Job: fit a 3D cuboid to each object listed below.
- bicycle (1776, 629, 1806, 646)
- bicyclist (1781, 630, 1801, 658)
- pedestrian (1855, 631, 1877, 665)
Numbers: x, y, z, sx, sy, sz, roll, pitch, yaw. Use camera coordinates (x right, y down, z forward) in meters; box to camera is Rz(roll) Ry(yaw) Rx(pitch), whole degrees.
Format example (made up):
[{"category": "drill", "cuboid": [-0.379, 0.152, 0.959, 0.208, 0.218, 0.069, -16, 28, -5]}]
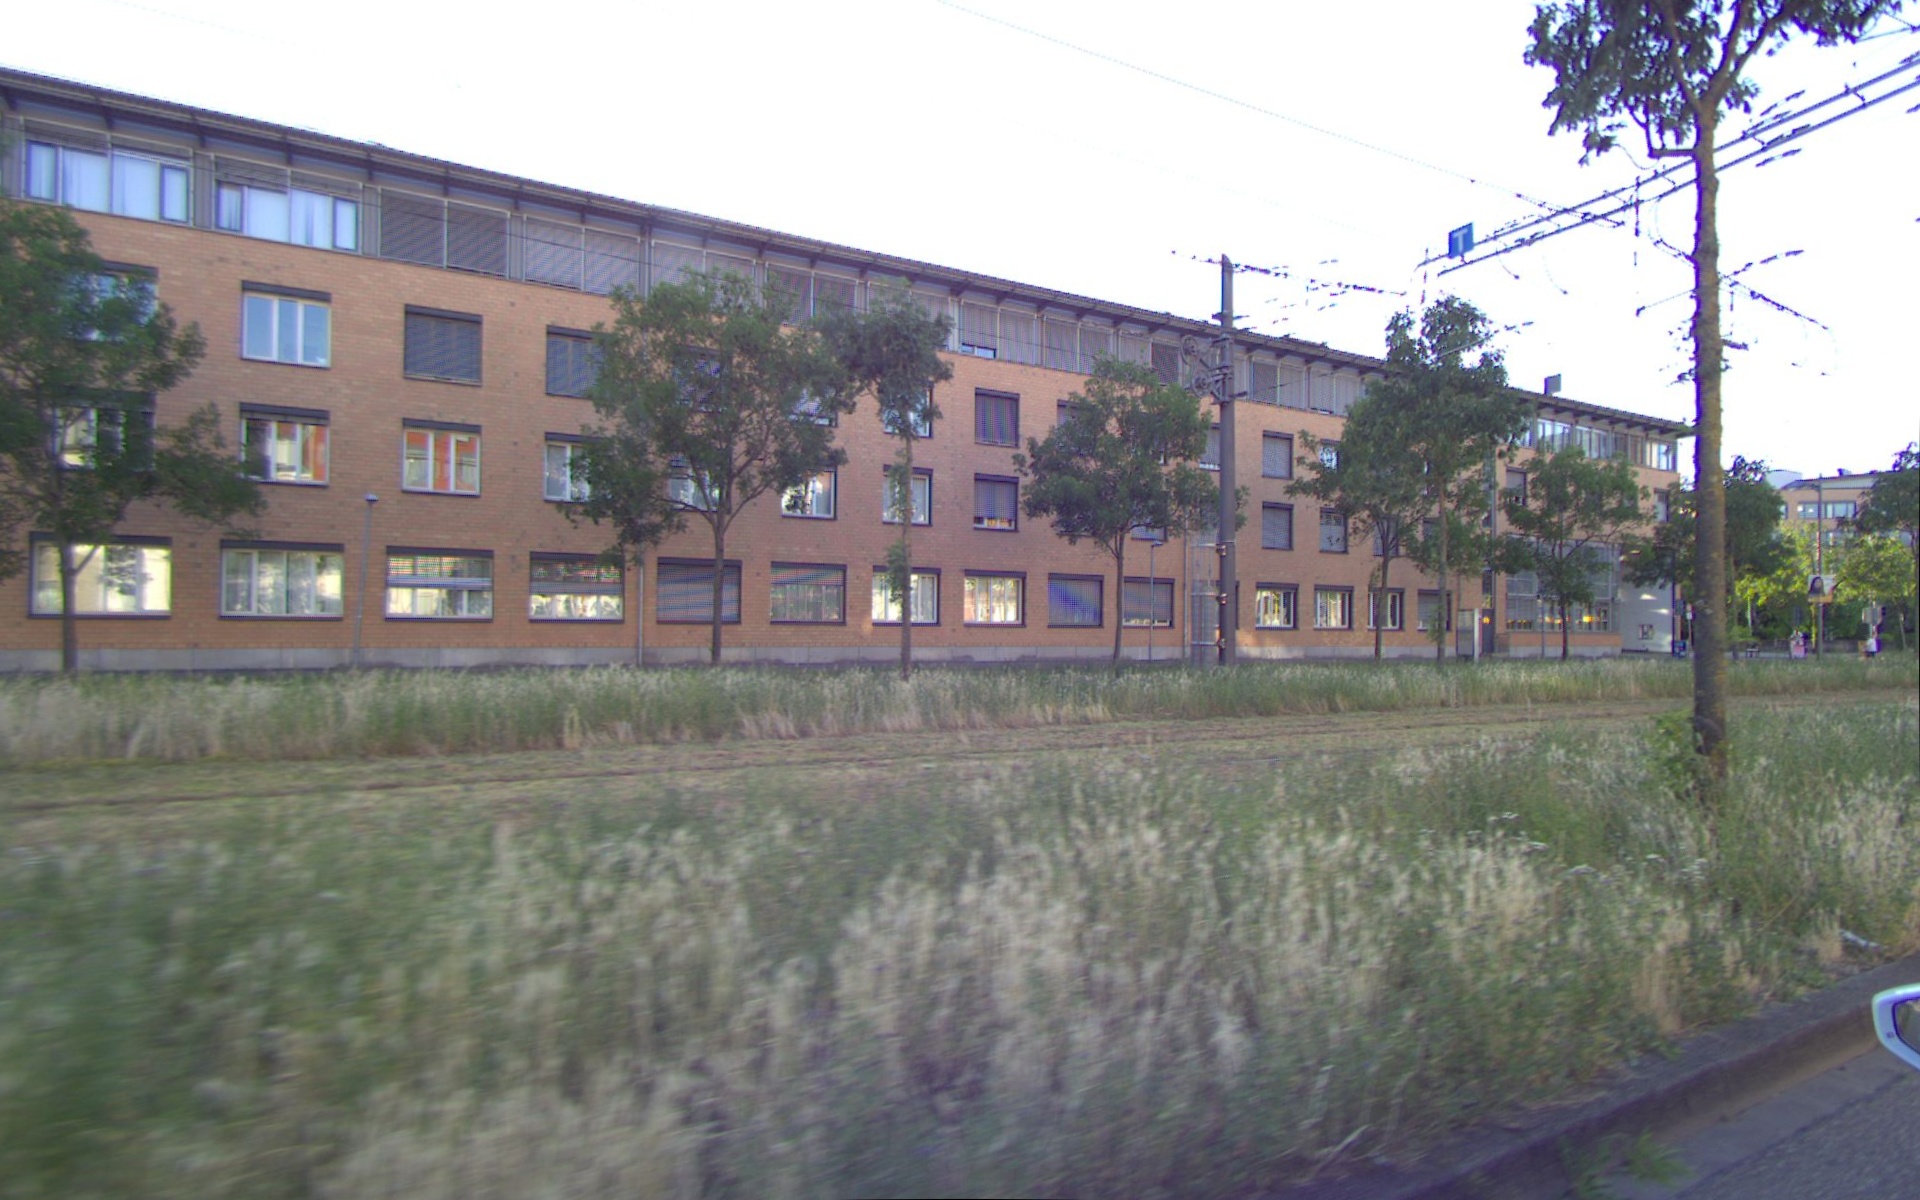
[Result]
[{"category": "bicycle", "cuboid": [51.039, 2.303, 61.691, 2.068, 1.066, 0.706, 1, -1, -29]}, {"category": "bicyclist", "cuboid": [51.034, 2.716, 61.684, 0.815, 1.696, 0.692, 1, -1, -29]}, {"category": "pedestrian", "cuboid": [46.637, 2.458, 51.718, 0.821, 1.720, 0.683, 1, -1, -37]}]
